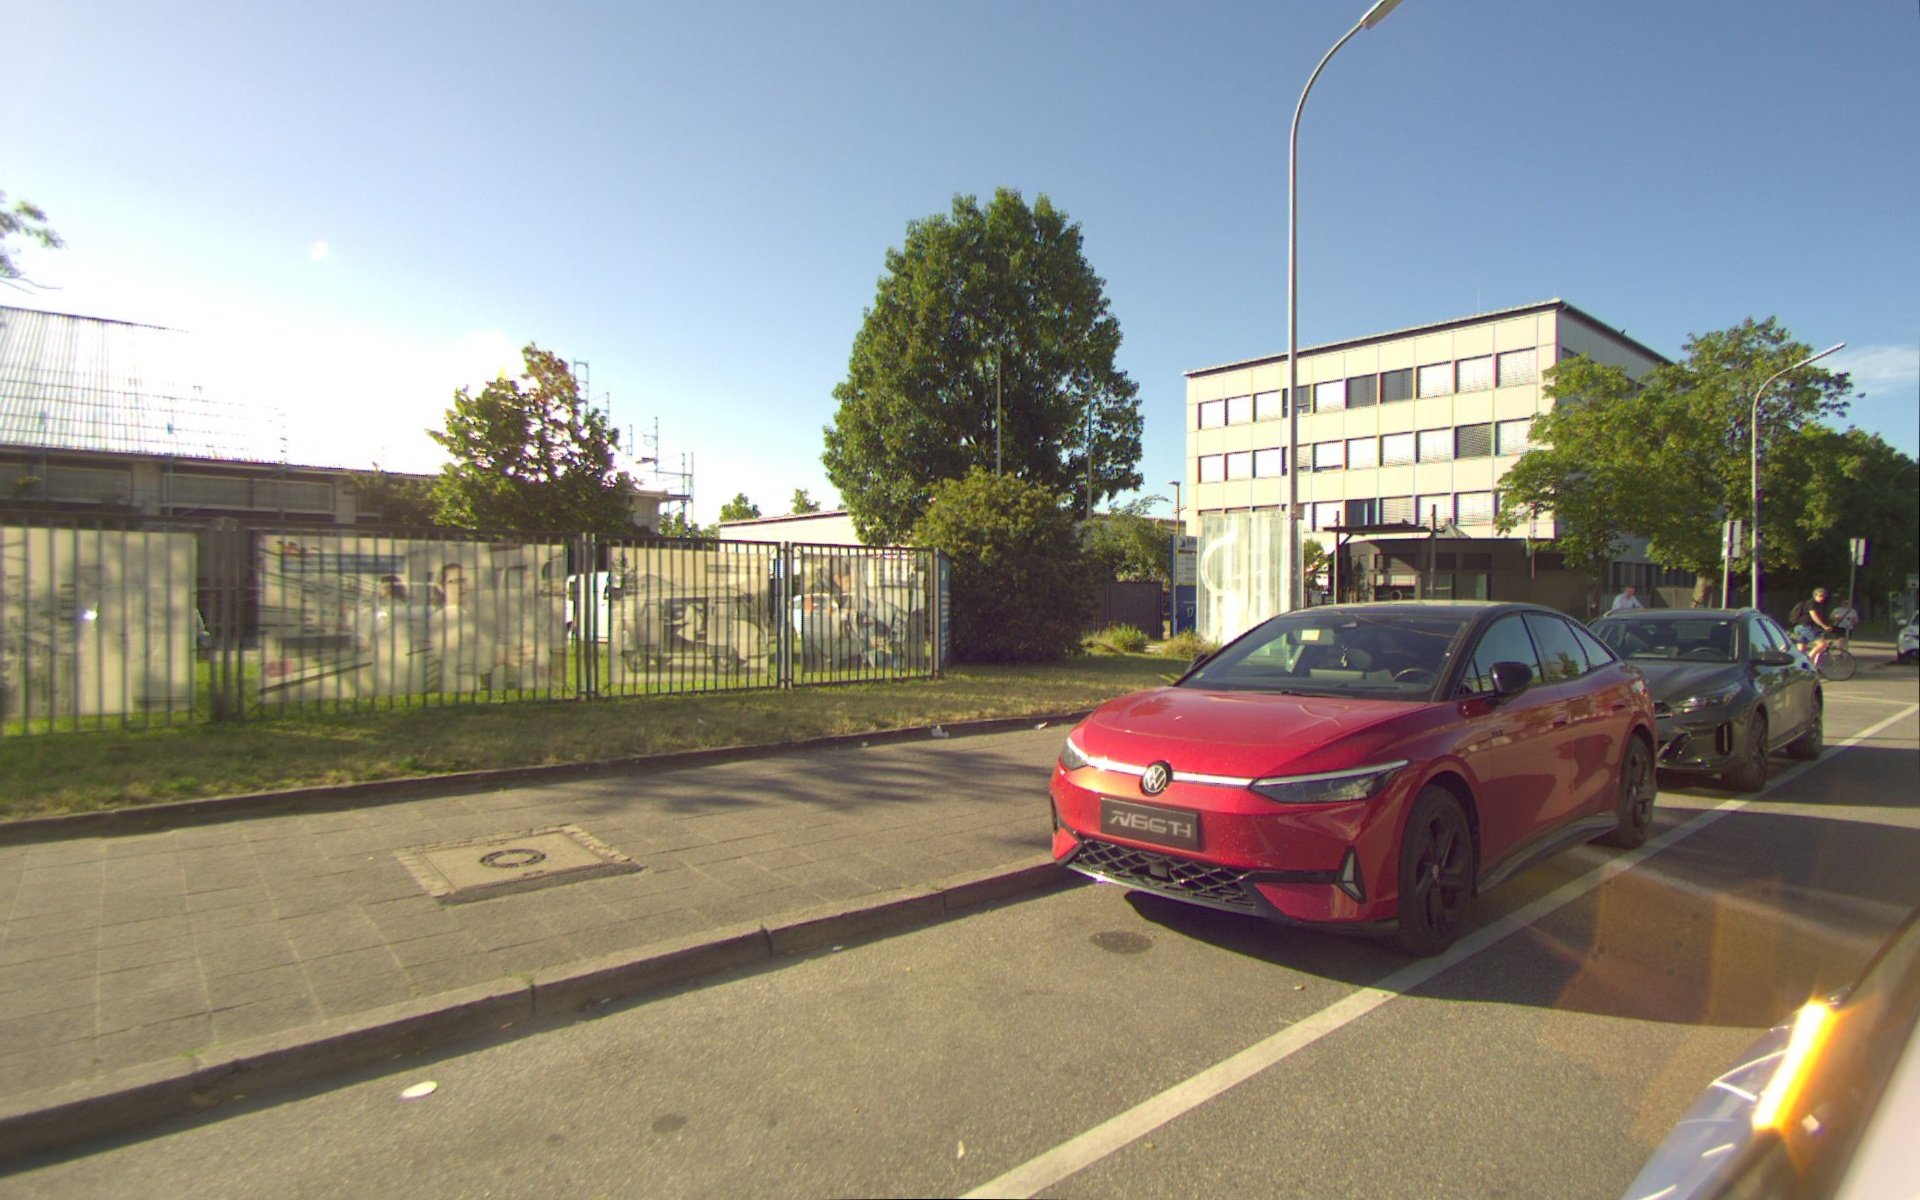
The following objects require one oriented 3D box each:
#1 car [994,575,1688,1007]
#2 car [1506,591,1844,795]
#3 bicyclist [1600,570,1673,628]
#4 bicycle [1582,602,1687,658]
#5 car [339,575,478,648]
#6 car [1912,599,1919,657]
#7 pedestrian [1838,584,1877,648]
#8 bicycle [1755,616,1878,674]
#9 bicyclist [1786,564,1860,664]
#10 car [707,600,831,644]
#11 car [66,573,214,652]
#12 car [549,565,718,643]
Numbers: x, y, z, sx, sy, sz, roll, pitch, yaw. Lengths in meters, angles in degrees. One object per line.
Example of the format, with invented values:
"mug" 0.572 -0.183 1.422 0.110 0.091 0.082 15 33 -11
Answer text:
"car" 2.491 0.691 5.836 4.641 1.530 1.811 0 -1 -42
"car" 6.846 0.701 9.517 4.142 1.506 1.703 0 -1 -42
"bicyclist" 15.451 -0.027 23.135 0.844 1.284 1.102 1 0 -25
"bicycle" 15.386 0.664 23.134 0.654 1.157 1.906 2 1 -25
"car" -11.681 0.199 21.339 1.647 1.397 3.892 0 0 -43
"car" 27.172 0.722 27.320 4.041 1.533 1.667 0 -1 -40
"pedestrian" 25.041 0.436 28.243 0.762 1.750 0.692 1 1 -41
"bicycle" 18.212 0.936 21.549 0.689 1.021 1.881 3 2 -44
"bicyclist" 18.330 0.282 21.489 0.944 2.039 1.050 2 1 -45
"car" -5.926 0.673 31.063 1.847 1.268 4.146 0 -1 -43
"car" -15.042 0.242 18.493 1.847 1.268 4.146 0 -1 -43
"car" -7.918 0.051 24.317 4.630 1.689 1.968 1 0 45
